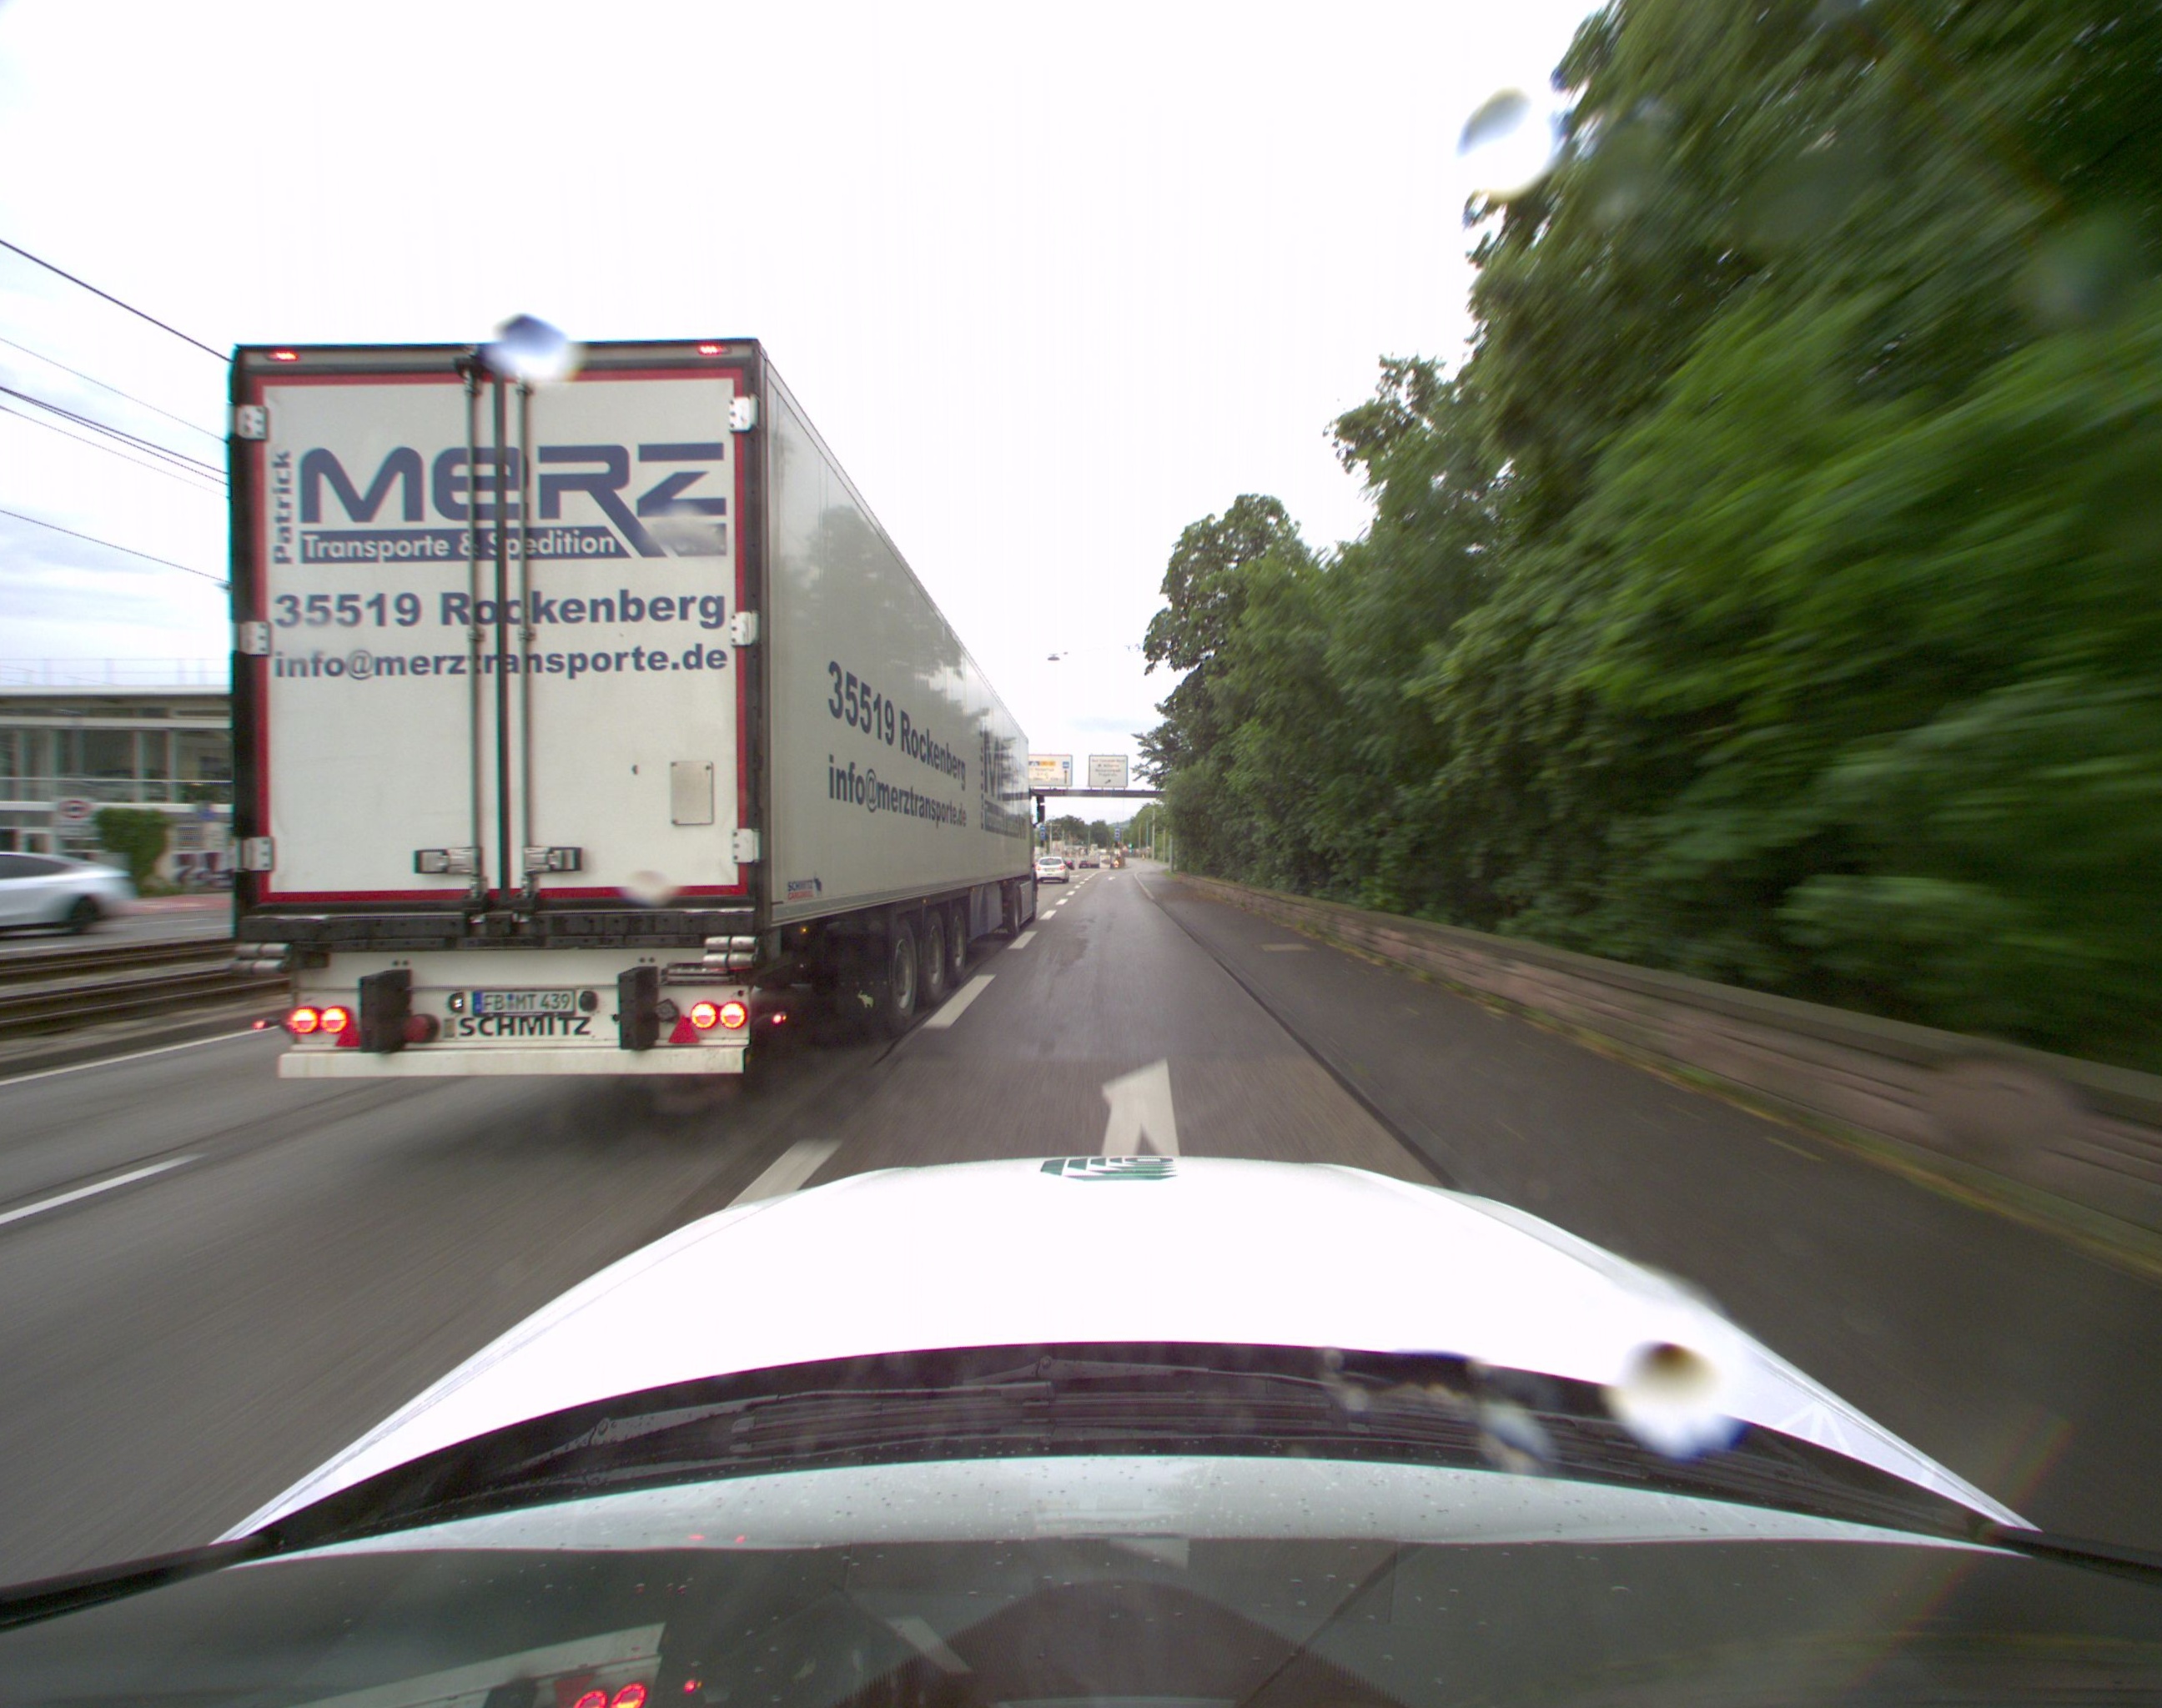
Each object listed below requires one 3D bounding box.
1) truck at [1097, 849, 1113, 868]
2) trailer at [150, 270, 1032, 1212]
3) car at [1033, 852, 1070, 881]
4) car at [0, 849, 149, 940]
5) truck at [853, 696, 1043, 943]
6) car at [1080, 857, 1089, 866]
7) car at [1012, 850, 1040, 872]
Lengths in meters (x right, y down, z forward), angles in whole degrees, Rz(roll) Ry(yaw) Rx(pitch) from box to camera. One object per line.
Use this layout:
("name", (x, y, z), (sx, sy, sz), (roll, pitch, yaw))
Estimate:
("truck", (5.384, 1.046, 184.852), (3.505, 4.040, 8.077), (-1, 0, 2))
("trailer", (-2.657, -0.537, 10.322), (2.752, 4.252, 13.189), (-1, 0, 2))
("car", (-1.606, 0.656, 45.428), (1.803, 1.423, 4.002), (-1, 2, 2))
("car", (-19.859, 0.744, 14.179), (1.714, 1.592, 4.744), (-2, 0, 1))
("truck", (-2.444, -0.610, 17.236), (2.746, 4.205, 6.308), (-1, 0, 1))
("car", (0.557, 1.237, 133.916), (1.421, 1.354, 2.961), (0, 0, 2))
("car", (-4.068, 0.478, 60.947), (1.675, 1.446, 4.002), (-1, 2, 2))
